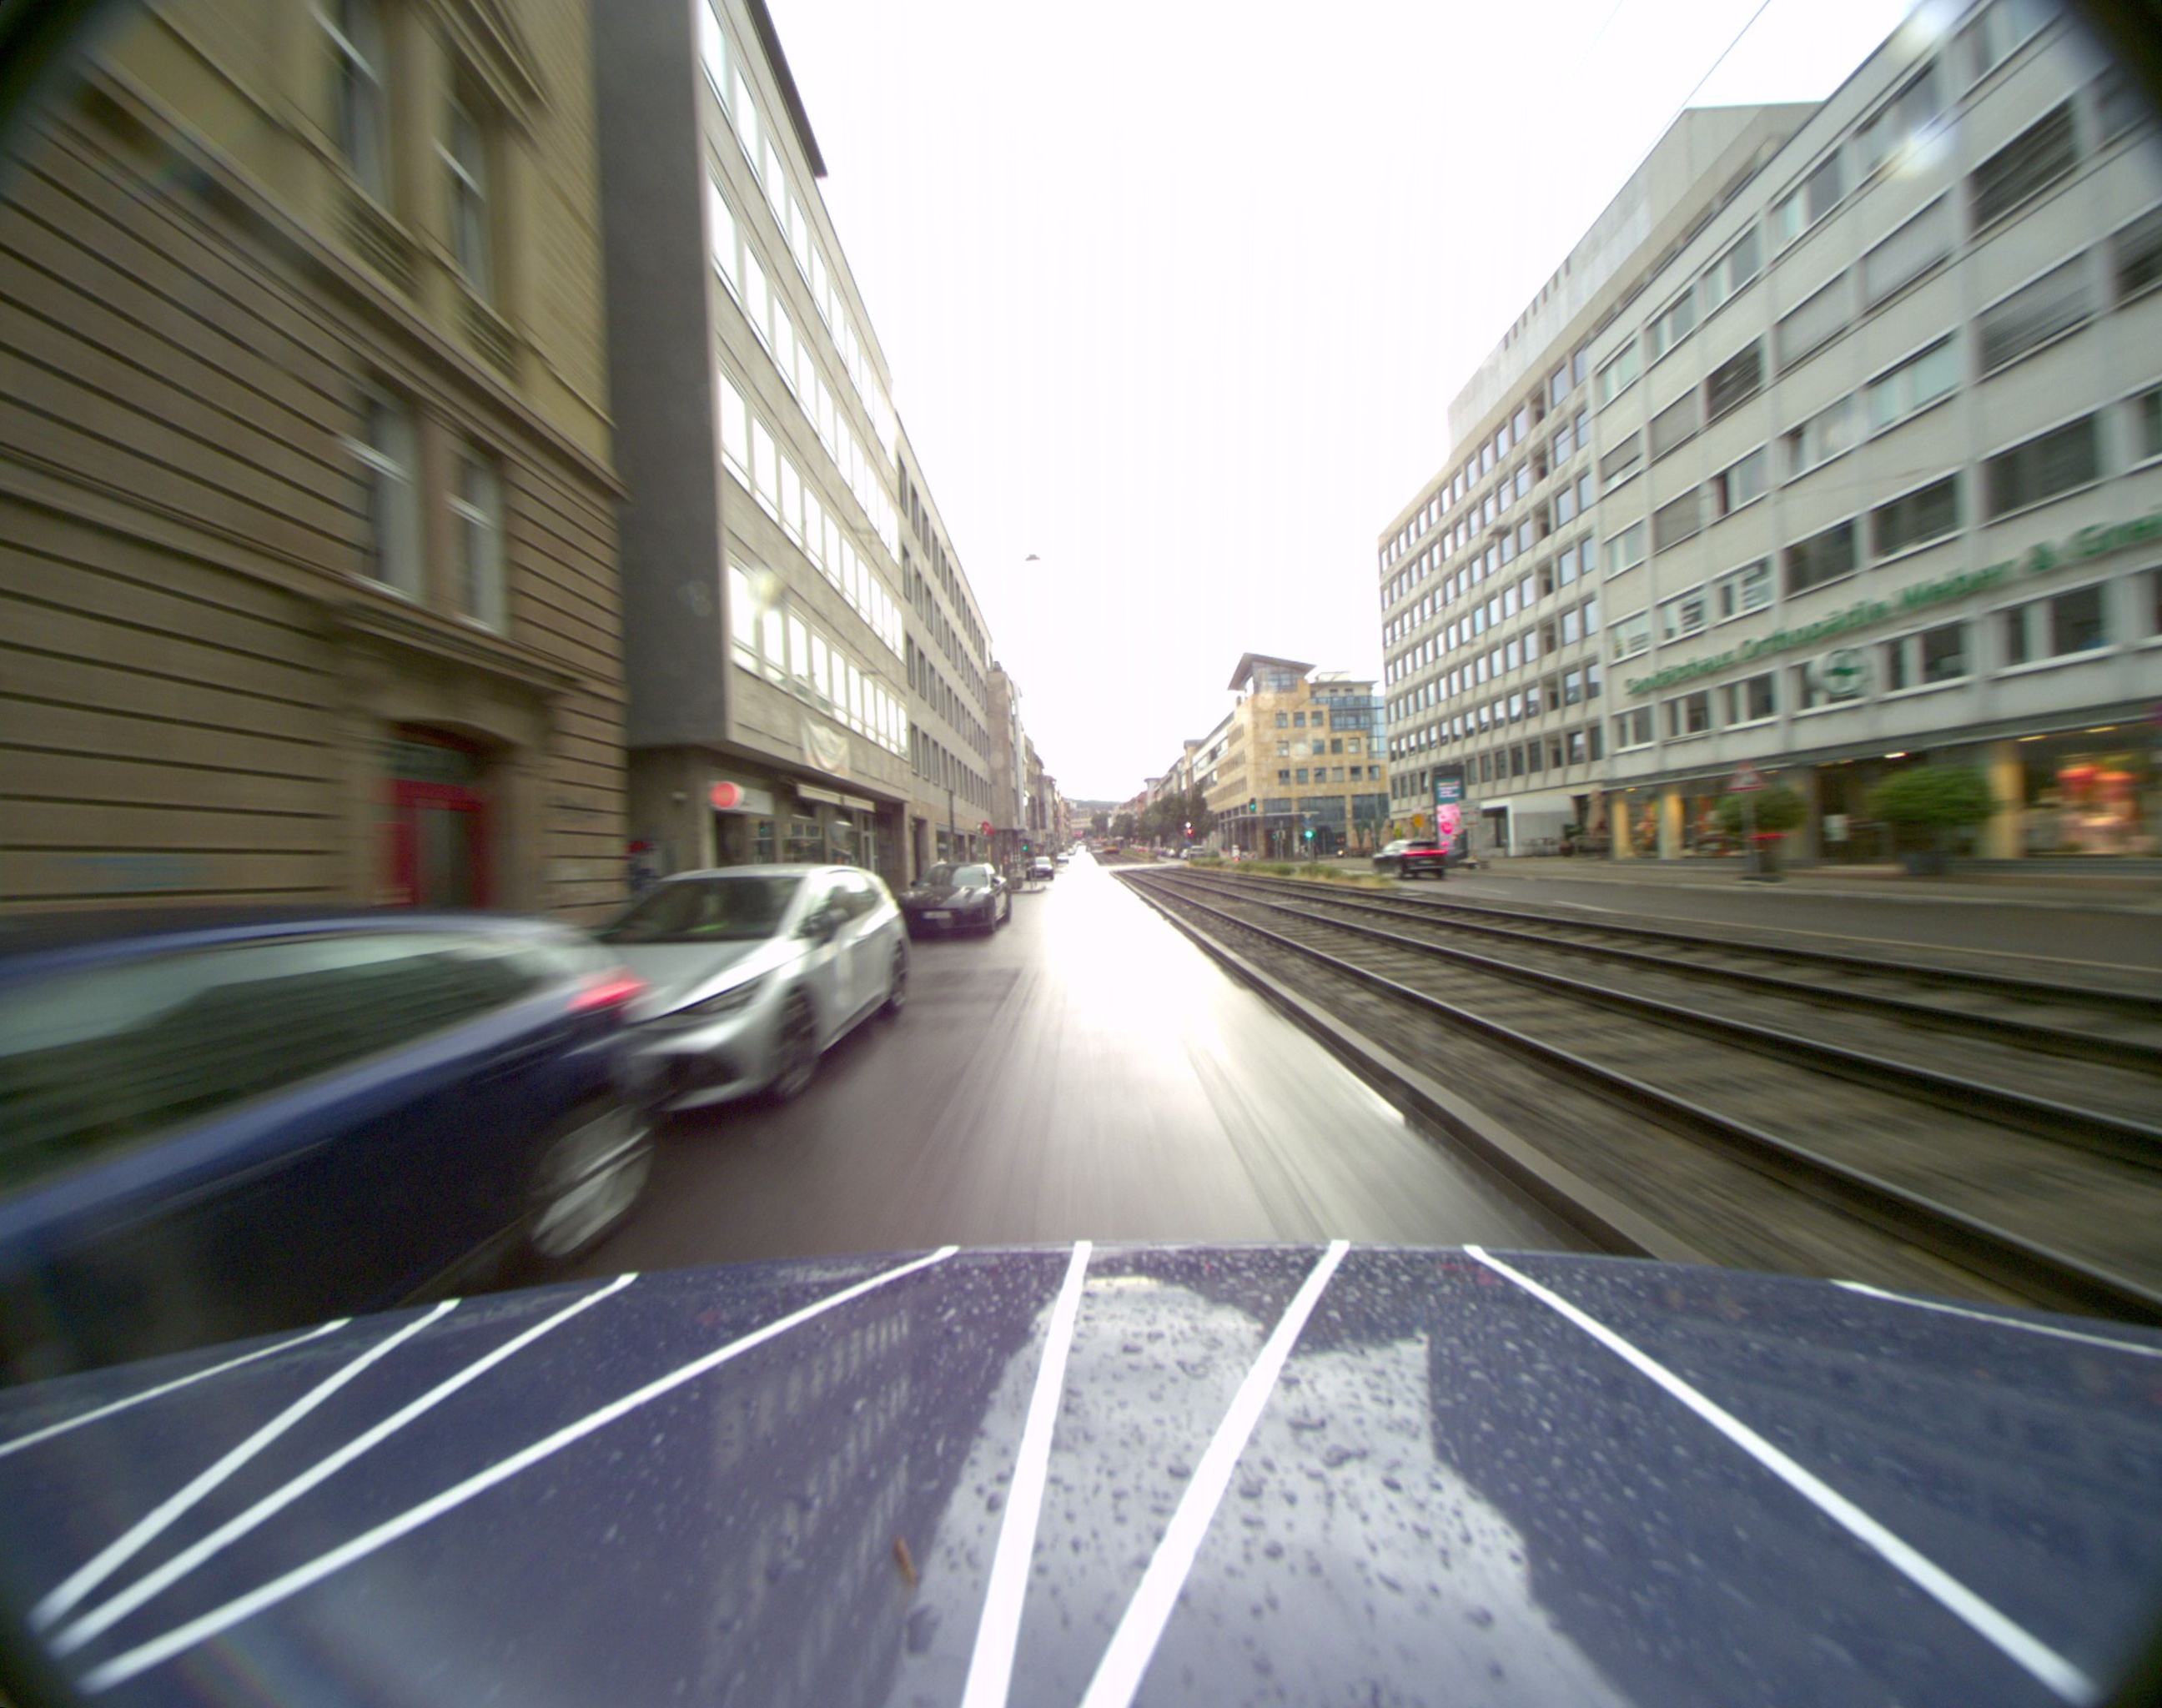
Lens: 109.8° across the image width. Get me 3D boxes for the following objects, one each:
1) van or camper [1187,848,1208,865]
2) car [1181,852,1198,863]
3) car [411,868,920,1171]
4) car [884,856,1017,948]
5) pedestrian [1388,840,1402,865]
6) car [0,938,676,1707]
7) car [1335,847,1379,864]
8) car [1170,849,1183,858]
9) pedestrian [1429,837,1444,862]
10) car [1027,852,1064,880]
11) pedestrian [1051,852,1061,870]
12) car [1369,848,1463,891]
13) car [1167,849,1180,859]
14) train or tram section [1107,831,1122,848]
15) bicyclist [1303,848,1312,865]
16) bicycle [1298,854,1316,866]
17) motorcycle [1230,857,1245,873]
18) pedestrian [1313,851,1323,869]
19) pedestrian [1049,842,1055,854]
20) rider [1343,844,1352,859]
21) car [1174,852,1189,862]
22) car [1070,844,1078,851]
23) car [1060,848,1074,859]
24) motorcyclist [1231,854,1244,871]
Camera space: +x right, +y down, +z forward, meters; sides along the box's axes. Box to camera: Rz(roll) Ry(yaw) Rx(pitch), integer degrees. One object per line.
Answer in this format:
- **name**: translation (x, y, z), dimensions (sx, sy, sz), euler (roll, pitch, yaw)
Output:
- **van or camper**: translation (15.543, 0.319, 101.814), dimensions (2.022, 1.986, 5.196), euler (-3, 2, 1)
- **car**: translation (15.610, 0.493, 109.657), dimensions (1.693, 1.477, 4.255), euler (-3, 0, -1)
- **car**: translation (-2.711, 0.940, 6.293), dimensions (1.750, 1.514, 4.355), euler (-3, 0, 0)
- **car**: translation (-2.655, 0.918, 16.669), dimensions (1.998, 1.585, 4.571), euler (-2, 1, 1)
- **pedestrian**: translation (22.797, -0.096, 55.126), dimensions (0.566, 1.812, 0.844), euler (-3, 1, -4)
- **car**: translation (-2.839, 1.168, 1.426), dimensions (1.724, 1.507, 4.259), euler (-3, 0, 1)
- **car**: translation (29.170, 0.148, 80.397), dimensions (3.996, 1.521, 1.891), euler (-3, 0, 1)
- **car**: translation (15.615, -0.104, 124.730), dimensions (1.653, 1.489, 4.192), euler (-2, 1, 1)
- **pedestrian**: translation (25.799, -0.322, 55.099), dimensions (0.566, 1.738, 0.844), euler (-3, 1, -4)
- **car**: translation (-2.228, 0.747, 48.819), dimensions (1.998, 1.585, 4.270), euler (-2, 1, 1)
- **pedestrian**: translation (-2.181, 0.618, 66.121), dimensions (0.662, 1.573, 0.778), euler (-3, 1, -21)
- **car**: translation (13.508, 0.579, 30.962), dimensions (1.998, 1.510, 4.445), euler (-3, 0, 3)
- **car**: translation (15.832, 0.004, 130.069), dimensions (1.653, 1.489, 4.292), euler (-2, 1, 1)
- **train or tram section**: translation (8.424, -3.777, 192.476), dimensions (2.909, 4.027, 18.763), euler (-2, 1, 0)
- **bicyclist**: translation (25.090, 0.261, 84.263), dimensions (0.710, 1.794, 0.784), euler (-3, 0, 0)
- **bicycle**: translation (25.102, 0.679, 84.281), dimensions (1.768, 1.303, 0.660), euler (-3, 0, 0)
- **motorcycle**: translation (11.747, 0.823, 56.934), dimensions (0.744, 1.053, 1.931), euler (-3, 1, 2)
- **pedestrian**: translation (24.146, 0.602, 77.459), dimensions (0.677, 1.770, 0.705), euler (-3, 1, 35)
- **pedestrian**: translation (-4.318, -0.917, 112.526), dimensions (0.793, 1.650, 0.721), euler (-4, 1, 0)
- **rider**: translation (29.680, -0.256, 84.606), dimensions (0.710, 1.666, 0.784), euler (-3, 0, 0)
- **car**: translation (15.826, 0.477, 119.915), dimensions (1.693, 1.477, 4.000), euler (-3, 0, -1)
- **car**: translation (-1.664, -1.486, 177.568), dimensions (1.653, 1.489, 4.067), euler (-2, 1, 1)
- **car**: translation (-2.012, -0.080, 110.582), dimensions (2.029, 1.585, 4.619), euler (-2, 1, 0)
- **motorcyclist**: translation (11.734, 0.612, 56.913), dimensions (0.743, 1.210, 0.970), euler (-3, 1, 2)
